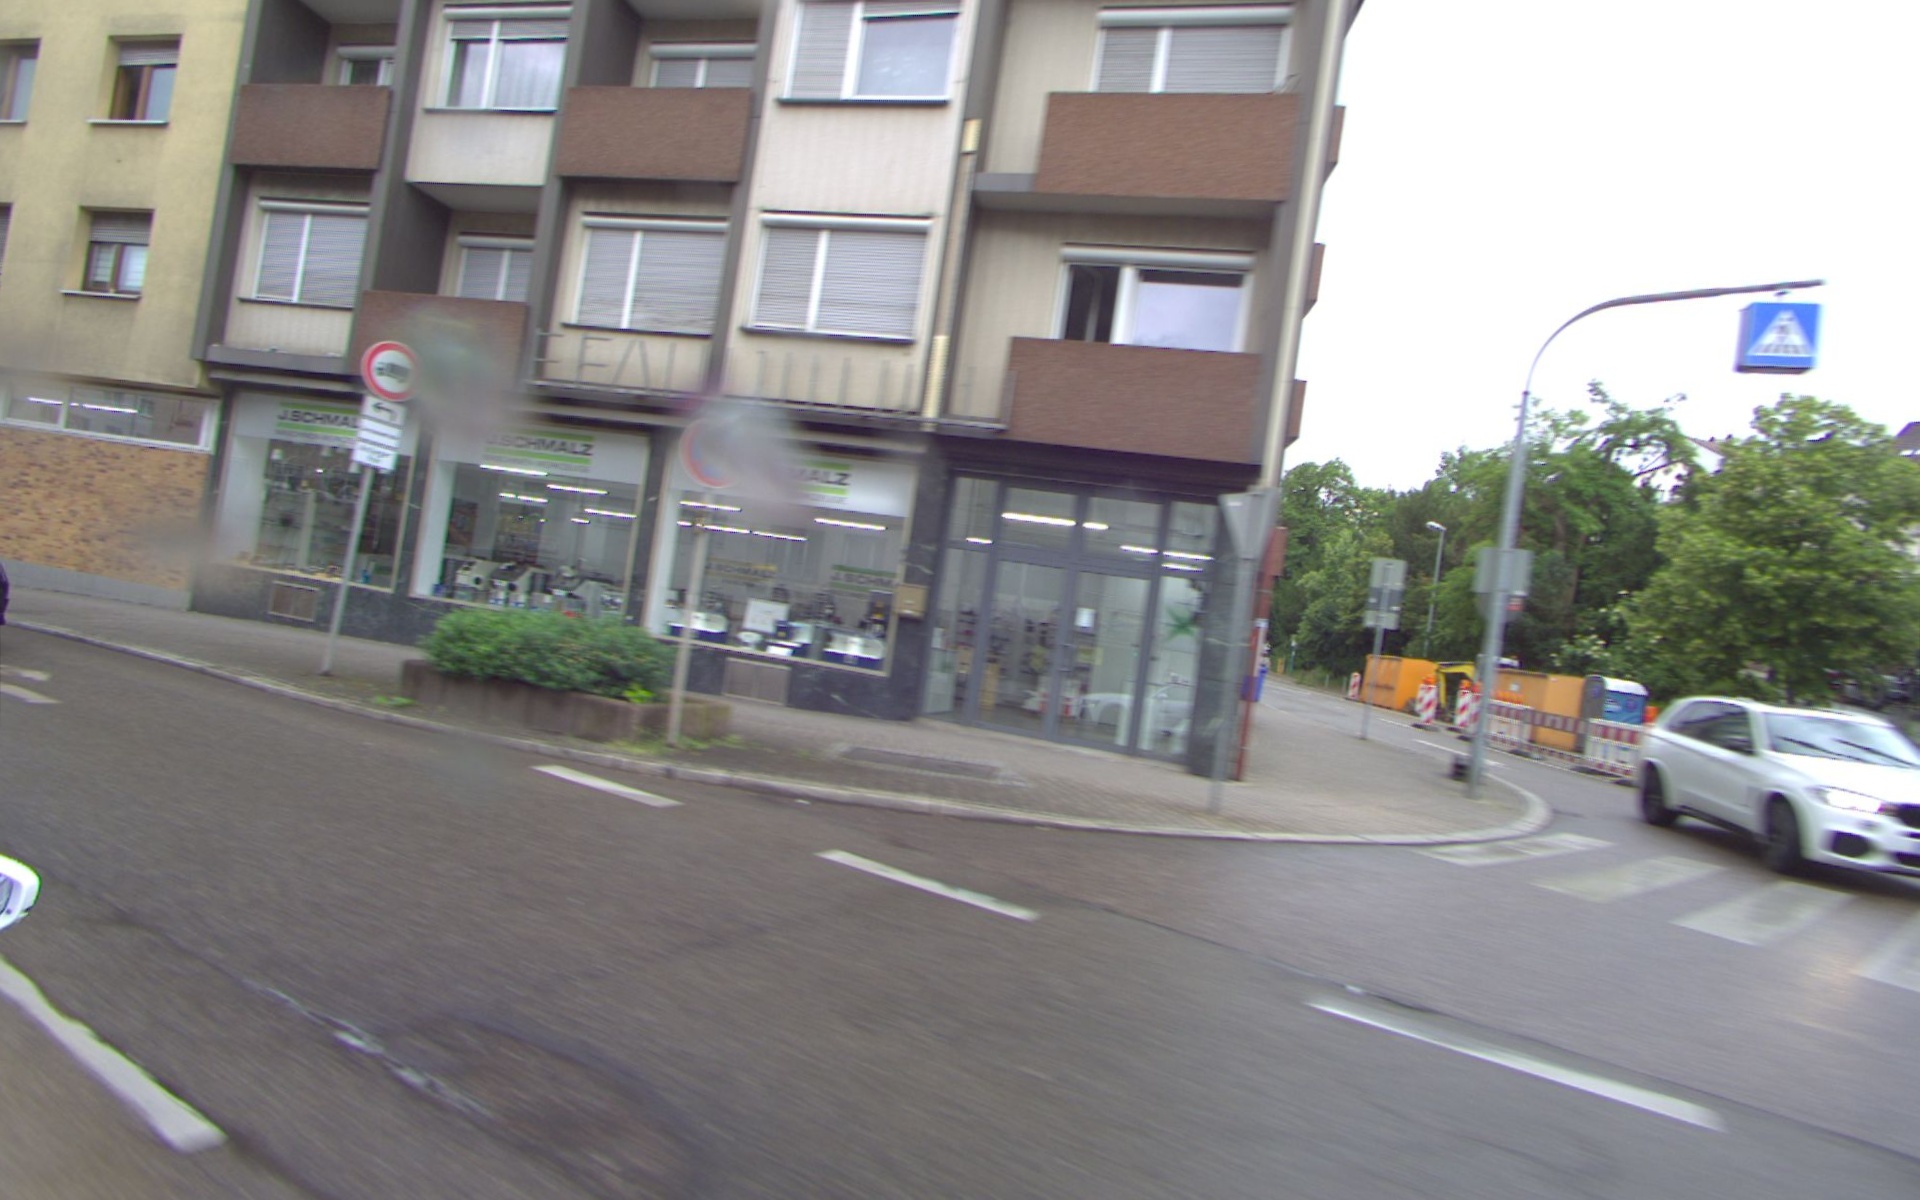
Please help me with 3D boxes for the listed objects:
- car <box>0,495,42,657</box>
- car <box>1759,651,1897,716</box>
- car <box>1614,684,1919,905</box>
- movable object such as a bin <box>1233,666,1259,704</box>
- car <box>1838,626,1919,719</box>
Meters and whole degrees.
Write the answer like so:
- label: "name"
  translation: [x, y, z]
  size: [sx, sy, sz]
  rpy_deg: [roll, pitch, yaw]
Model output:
- label: "car"
  translation: [-11.071, -0.484, 9.731]
  size: [3.984, 1.514, 1.789]
  rpy_deg: [7, -1, 26]
- label: "car"
  translation: [32.376, 3.070, 37.736]
  size: [1.855, 1.588, 4.537]
  rpy_deg: [8, 5, 13]
- label: "car"
  translation: [9.669, 2.058, 11.488]
  size: [1.962, 1.741, 4.801]
  rpy_deg: [7, -1, 13]
- label: "movable object such as a bin"
  translation: [8.449, 2.510, 29.704]
  size: [0.521, 1.058, 0.540]
  rpy_deg: [8, -3, 4]
- label: "car"
  translation: [31.190, 2.457, 32.296]
  size: [1.854, 2.654, 5.089]
  rpy_deg: [8, 5, 11]
